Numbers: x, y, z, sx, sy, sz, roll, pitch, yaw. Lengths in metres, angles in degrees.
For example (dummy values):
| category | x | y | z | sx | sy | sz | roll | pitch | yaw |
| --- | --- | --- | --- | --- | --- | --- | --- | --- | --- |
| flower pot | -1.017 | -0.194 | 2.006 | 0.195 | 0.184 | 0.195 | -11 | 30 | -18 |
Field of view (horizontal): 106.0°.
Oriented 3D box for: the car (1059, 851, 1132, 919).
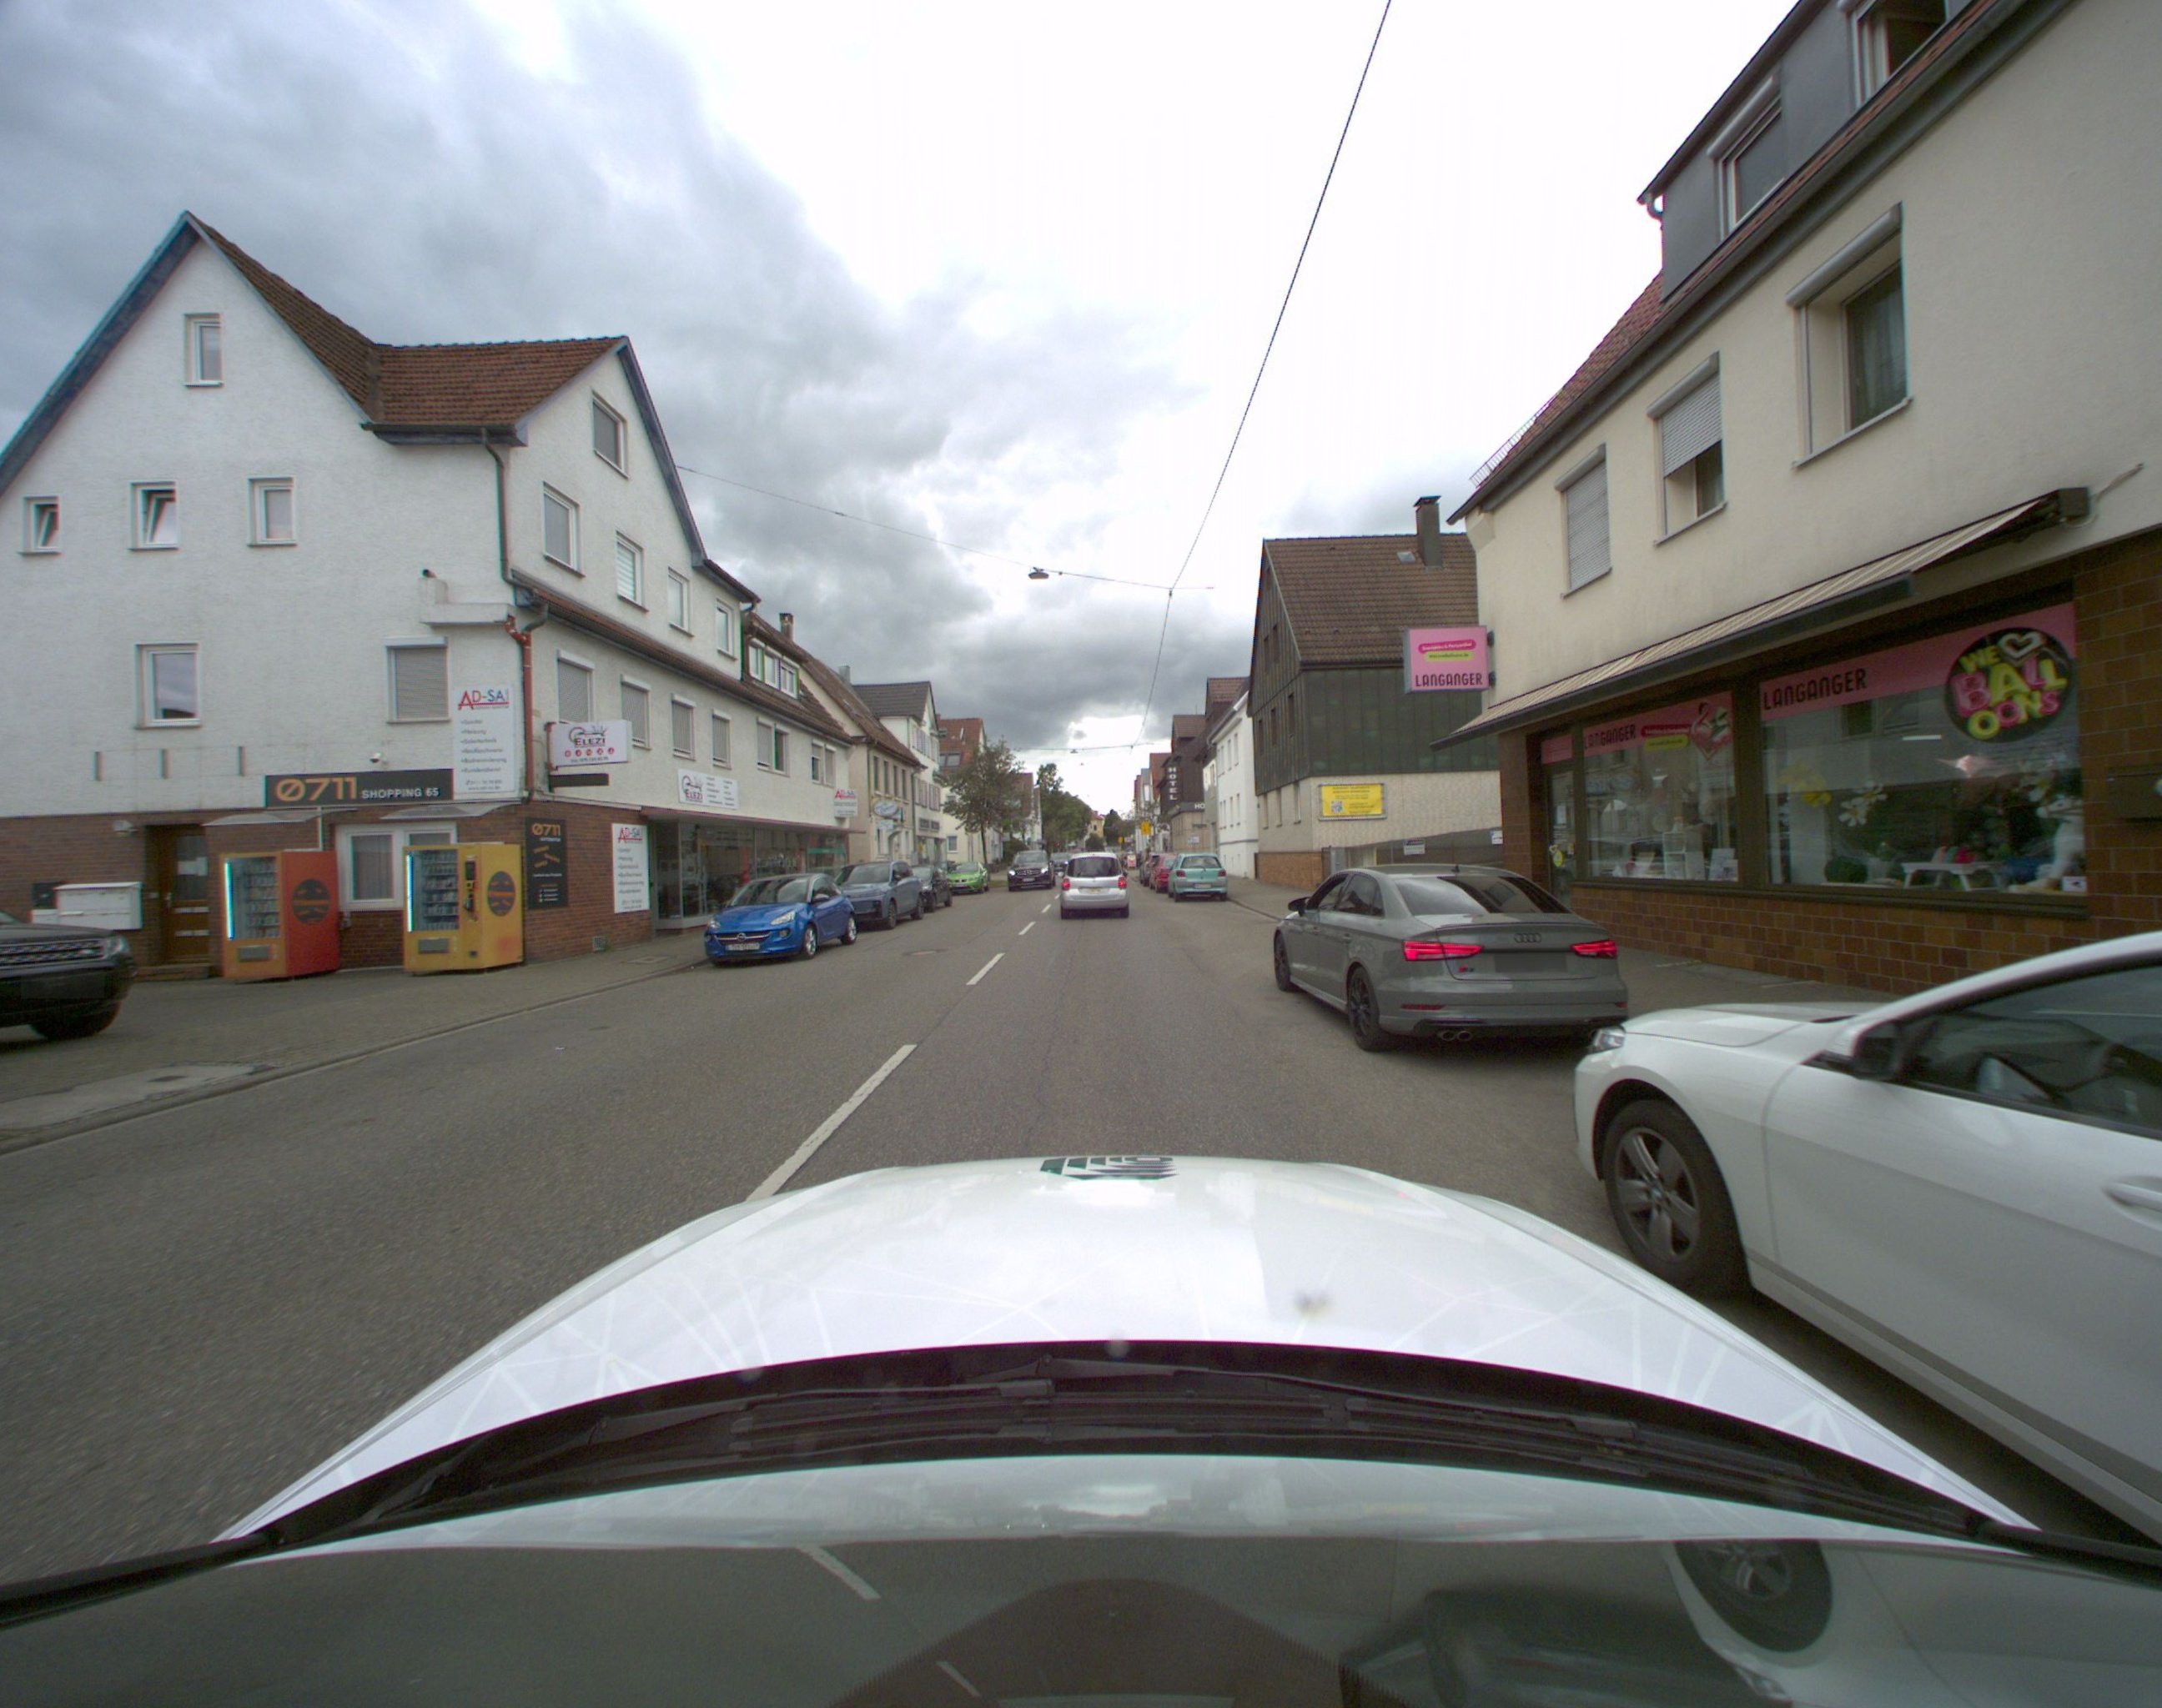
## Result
| category | x | y | z | sx | sy | sz | roll | pitch | yaw |
| --- | --- | --- | --- | --- | --- | --- | --- | --- | --- |
| car | 0.404 | 0.712 | 20.878 | 1.676 | 1.566 | 3.995 | -1 | 0 | 2 |

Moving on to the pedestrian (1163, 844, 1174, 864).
| category | x | y | z | sx | sy | sz | roll | pitch | yaw |
| --- | --- | --- | --- | --- | --- | --- | --- | --- | --- |
| pedestrian | 8.231 | -0.002 | 76.711 | 0.854 | 1.928 | 0.900 | -1 | 0 | 1 |

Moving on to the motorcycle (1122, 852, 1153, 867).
| category | x | y | z | sx | sy | sz | roll | pitch | yaw |
| --- | --- | --- | --- | --- | --- | --- | --- | --- | --- |
| motorcycle | 4.896 | 0.481 | 70.215 | 2.745 | 1.183 | 0.693 | -1 | 0 | -29 |

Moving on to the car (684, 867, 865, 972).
| category | x | y | z | sx | sy | sz | roll | pitch | yaw |
| --- | --- | --- | --- | --- | --- | --- | --- | --- | --- |
| car | -5.378 | 1.081 | 14.856 | 1.676 | 1.499 | 3.777 | -4 | 0 | 2 |

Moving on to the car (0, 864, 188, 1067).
| category | x | y | z | sx | sy | sz | roll | pitch | yaw |
| --- | --- | --- | --- | --- | --- | --- | --- | --- | --- |
| car | -11.105 | 0.998 | 7.525 | 3.962 | 1.702 | 2.006 | -1 | 0 | 10 |

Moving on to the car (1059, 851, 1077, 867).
| category | x | y | z | sx | sy | sz | roll | pitch | yaw |
| --- | --- | --- | --- | --- | --- | --- | --- | --- | --- |
| car | -1.256 | 0.486 | 80.698 | 1.678 | 1.447 | 4.018 | -4 | 0 | -1 |

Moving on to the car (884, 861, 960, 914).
| category | x | y | z | sx | sy | sz | roll | pitch | yaw |
| --- | --- | --- | --- | --- | --- | --- | --- | --- | --- |
| car | -5.034 | 1.032 | 26.229 | 1.576 | 1.508 | 3.814 | -1 | 0 | 2 |

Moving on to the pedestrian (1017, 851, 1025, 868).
| category | x | y | z | sx | sy | sz | roll | pitch | yaw |
| --- | --- | --- | --- | --- | --- | --- | --- | --- | --- |
| pedestrian | -6.475 | 0.581 | 88.536 | 0.760 | 1.791 | 0.890 | -1 | 0 | 1 |

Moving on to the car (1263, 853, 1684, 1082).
| category | x | y | z | sx | sy | sz | roll | pitch | yaw |
| --- | --- | --- | --- | --- | --- | --- | --- | --- | --- |
| car | 3.004 | 0.729 | 7.335 | 1.825 | 1.445 | 4.109 | -1 | 0 | 0 |

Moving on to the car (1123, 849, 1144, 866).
| category | x | y | z | sx | sy | sz | roll | pitch | yaw |
| --- | --- | --- | --- | --- | --- | --- | --- | --- | --- |
| car | 4.749 | 0.311 | 74.413 | 1.695 | 1.429 | 3.891 | -1 | 0 | 1 |

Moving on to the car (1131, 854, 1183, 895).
| category | x | y | z | sx | sy | sz | roll | pitch | yaw |
| --- | --- | --- | --- | --- | --- | --- | --- | --- | --- |
| car | 2.850 | 0.723 | 31.376 | 1.748 | 1.445 | 4.457 | -1 | 0 | 2 |

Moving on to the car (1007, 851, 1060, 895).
| category | x | y | z | sx | sy | sz | roll | pitch | yaw |
| --- | --- | --- | --- | --- | --- | --- | --- | --- | --- |
| car | -2.105 | 0.804 | 37.019 | 1.893 | 1.737 | 4.368 | -4 | 0 | 2 |

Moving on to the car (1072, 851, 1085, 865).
| category | x | y | z | sx | sy | sz | roll | pitch | yaw |
| --- | --- | --- | --- | --- | --- | --- | --- | --- | --- |
| car | -0.416 | 0.595 | 127.367 | 1.945 | 2.013 | 4.001 | -1 | 0 | 1 |

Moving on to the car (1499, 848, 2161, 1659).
| category | x | y | z | sx | sy | sz | roll | pitch | yaw |
| --- | --- | --- | --- | --- | --- | --- | --- | --- | --- |
| car | 2.857 | 0.720 | 1.571 | 1.826 | 1.445 | 4.330 | -1 | 0 | -1 |

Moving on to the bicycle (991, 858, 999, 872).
| category | x | y | z | sx | sy | sz | roll | pitch | yaw |
| --- | --- | --- | --- | --- | --- | --- | --- | --- | --- |
| bicycle | -7.165 | 0.918 | 68.119 | 0.513 | 1.153 | 1.665 | -1 | 0 | -1 |

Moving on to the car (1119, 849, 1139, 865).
| category | x | y | z | sx | sy | sz | roll | pitch | yaw |
| --- | --- | --- | --- | --- | --- | --- | --- | --- | --- |
| car | 4.668 | 0.302 | 79.227 | 1.695 | 1.467 | 4.239 | -1 | 0 | 1 |

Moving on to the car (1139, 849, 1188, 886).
| category | x | y | z | sx | sy | sz | roll | pitch | yaw |
| --- | --- | --- | --- | --- | --- | --- | --- | --- | --- |
| car | 3.699 | 0.588 | 37.199 | 1.869 | 1.539 | 4.514 | -1 | 0 | 2 |

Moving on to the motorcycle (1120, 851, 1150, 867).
| category | x | y | z | sx | sy | sz | roll | pitch | yaw |
| --- | --- | --- | --- | --- | --- | --- | --- | --- | --- |
| motorcycle | 4.744 | 0.408 | 71.263 | 2.724 | 1.336 | 0.693 | -1 | 0 | -29 |

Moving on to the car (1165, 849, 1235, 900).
| category | x | y | z | sx | sy | sz | roll | pitch | yaw |
| --- | --- | --- | --- | --- | --- | --- | --- | --- | --- |
| car | 3.763 | 0.605 | 26.352 | 1.824 | 1.497 | 3.995 | -1 | 0 | 2 |

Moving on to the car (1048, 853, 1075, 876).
| category | x | y | z | sx | sy | sz | roll | pitch | yaw |
| --- | --- | --- | --- | --- | --- | --- | --- | --- | --- |
| car | -1.445 | 0.749 | 61.581 | 1.788 | 1.578 | 4.193 | -4 | 0 | 1 |

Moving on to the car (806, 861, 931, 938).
| category | x | y | z | sx | sy | sz | roll | pitch | yaw |
| --- | --- | --- | --- | --- | --- | --- | --- | --- | --- |
| car | -5.205 | 1.047 | 20.592 | 1.796 | 1.599 | 4.306 | -4 | 0 | 2 |

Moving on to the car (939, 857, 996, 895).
| category | x | y | z | sx | sy | sz | roll | pitch | yaw |
| --- | --- | --- | --- | --- | --- | --- | --- | --- | --- |
| car | -4.997 | 0.946 | 36.324 | 1.675 | 1.447 | 4.023 | -4 | 0 | 3 |
